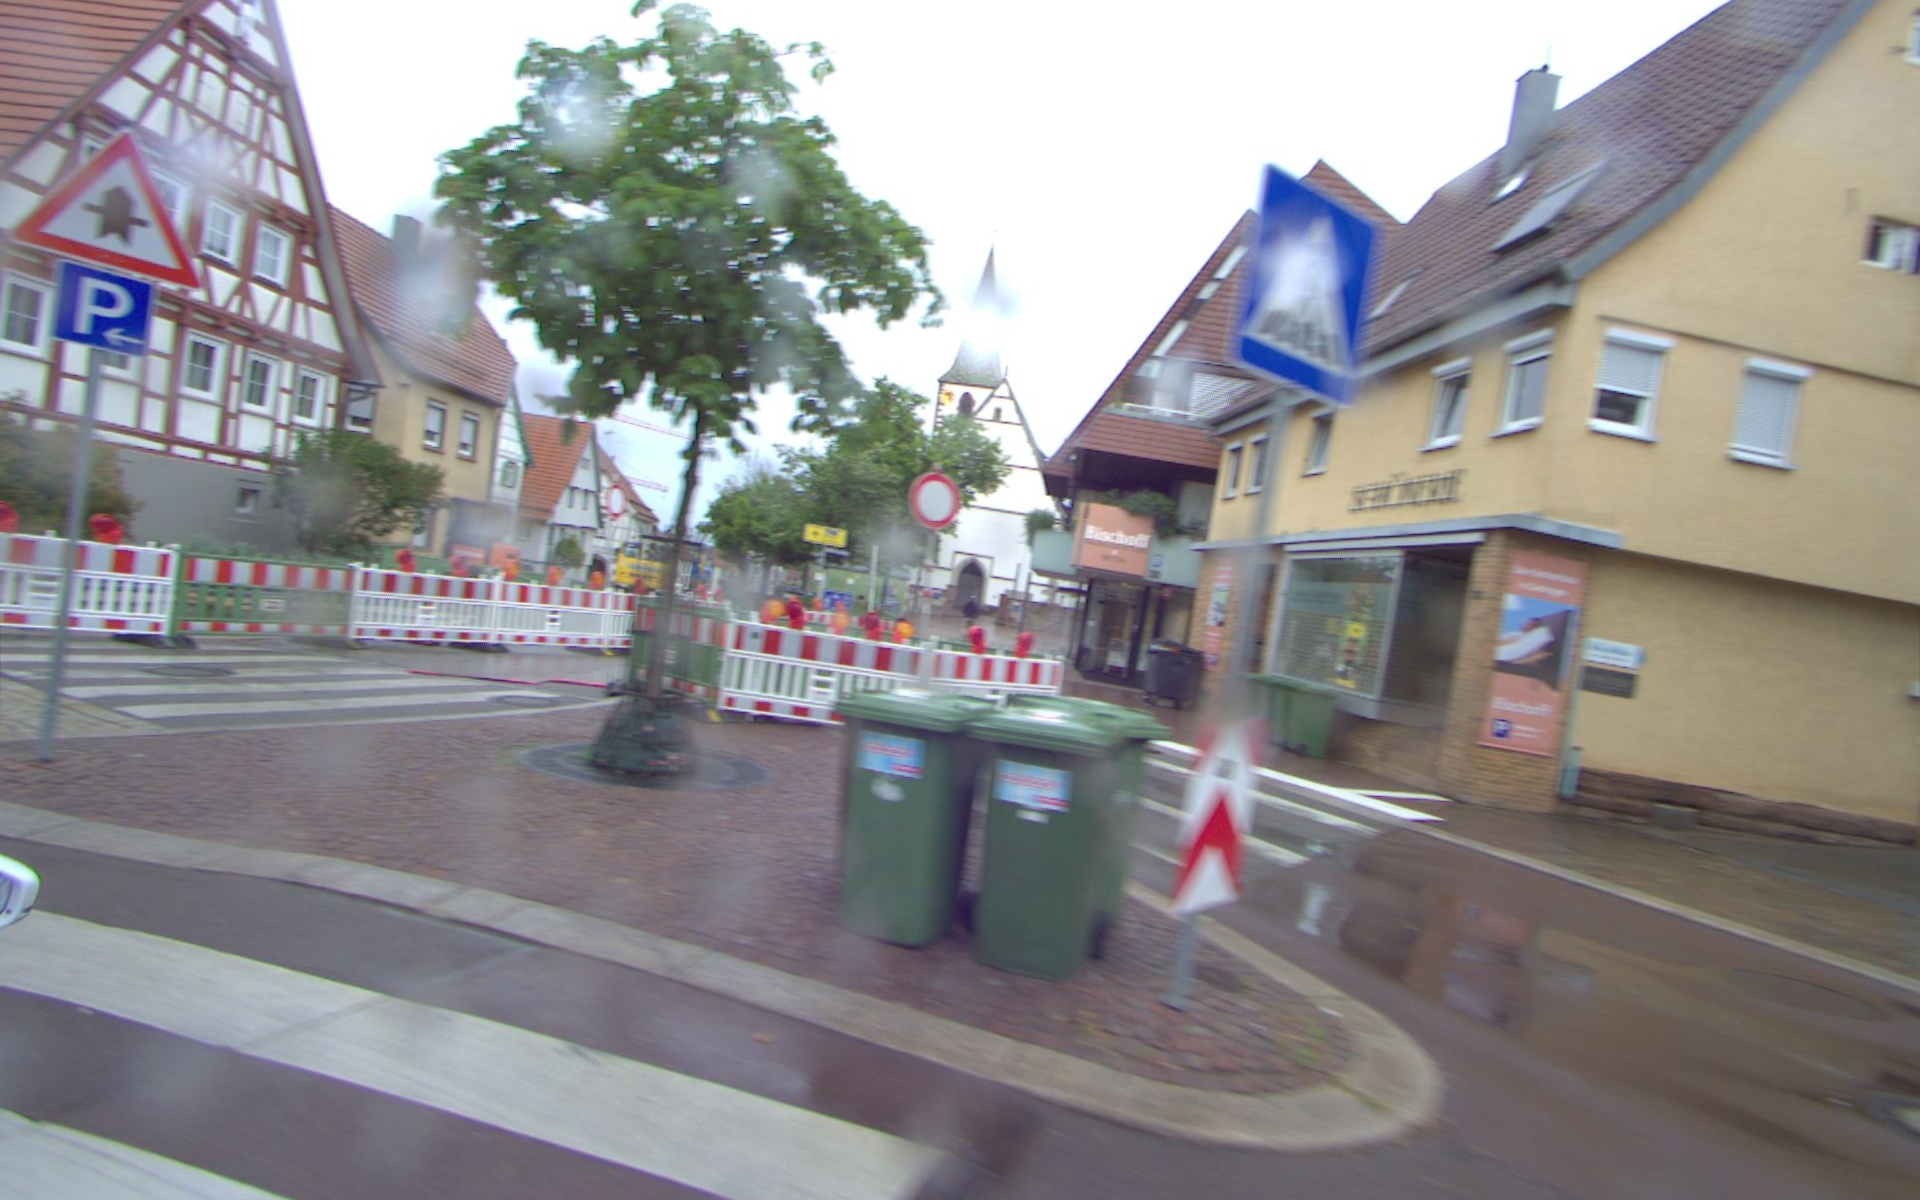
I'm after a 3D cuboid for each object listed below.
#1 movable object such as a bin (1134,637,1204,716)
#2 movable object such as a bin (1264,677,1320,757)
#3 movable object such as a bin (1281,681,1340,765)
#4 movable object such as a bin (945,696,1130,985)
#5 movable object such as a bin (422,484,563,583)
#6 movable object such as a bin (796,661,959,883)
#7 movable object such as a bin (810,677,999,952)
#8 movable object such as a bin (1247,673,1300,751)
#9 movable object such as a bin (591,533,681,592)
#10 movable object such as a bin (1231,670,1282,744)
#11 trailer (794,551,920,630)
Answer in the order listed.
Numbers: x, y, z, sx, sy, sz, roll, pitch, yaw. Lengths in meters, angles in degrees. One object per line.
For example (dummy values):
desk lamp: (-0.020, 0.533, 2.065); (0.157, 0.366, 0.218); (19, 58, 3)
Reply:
movable object such as a bin: (4.545, 1.643, 21.983); (1.049, 1.532, 1.241); (6, 1, -5)
movable object such as a bin: (5.198, 1.830, 15.789); (0.508, 1.144, 0.578); (5, 2, -10)
movable object such as a bin: (5.288, 1.850, 15.189); (0.510, 1.147, 0.578); (6, 2, -10)
movable object such as a bin: (0.341, 0.959, 4.226); (0.535, 1.044, 0.535); (6, -2, 20)
movable object such as a bin: (-12.222, -1.655, 26.627); (1.877, 2.037, 3.999); (7, -1, -4)
movable object such as a bin: (-0.418, 0.866, 5.233); (0.503, 1.016, 0.567); (6, -1, 29)
movable object such as a bin: (-0.228, 0.900, 4.443); (0.532, 1.049, 0.572); (7, -2, 20)
movable object such as a bin: (5.104, 1.812, 16.391); (0.508, 1.149, 0.578); (5, 2, -9)
movable object such as a bin: (-15.088, -1.702, 47.142); (3.360, 2.036, 3.472); (10, -1, -12)
movable object such as a bin: (5.006, 1.803, 17.018); (0.508, 1.143, 0.578); (6, 2, -9)
trailer: (-5.214, -0.455, 51.061); (5.720, 2.981, 1.992); (10, -1, -18)
